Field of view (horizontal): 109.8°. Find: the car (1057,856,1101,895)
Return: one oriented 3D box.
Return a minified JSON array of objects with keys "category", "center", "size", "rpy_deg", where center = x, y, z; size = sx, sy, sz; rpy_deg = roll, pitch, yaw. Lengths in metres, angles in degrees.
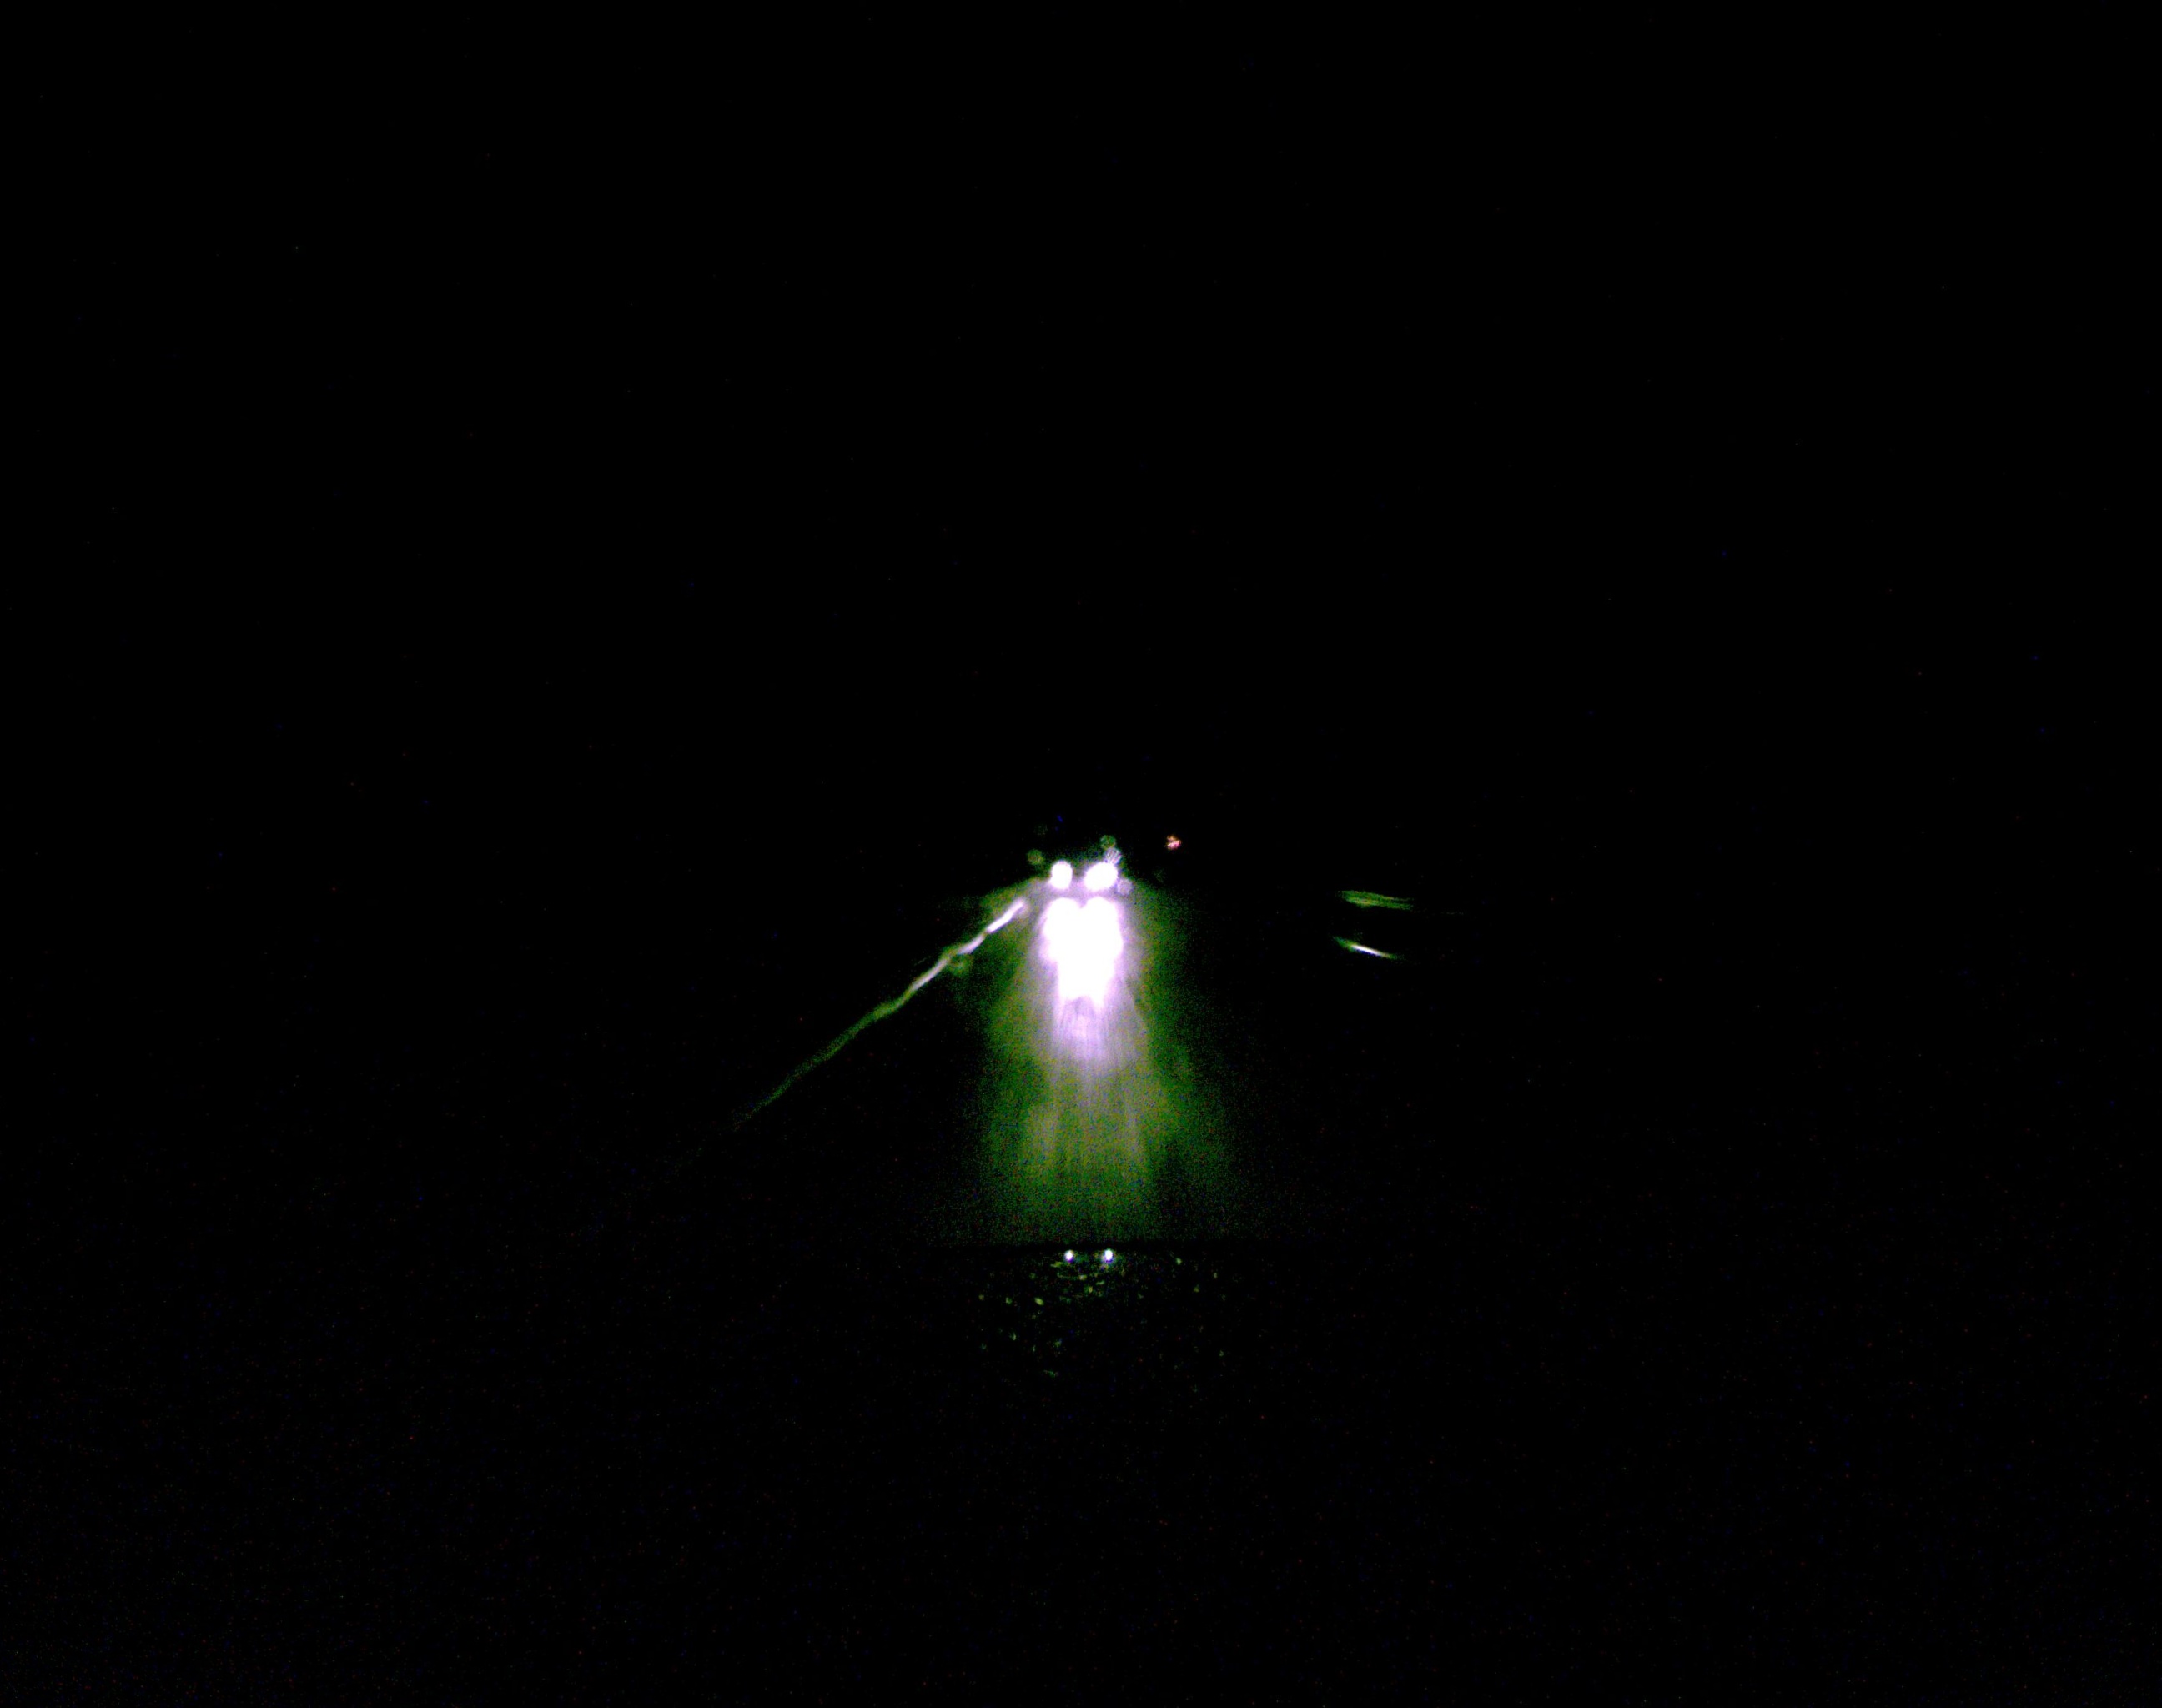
[{"category":"car","center":[-0.070,0.892,33.276],"size":[1.793,1.593,4.000],"rpy_deg":[0,0,1]}]
